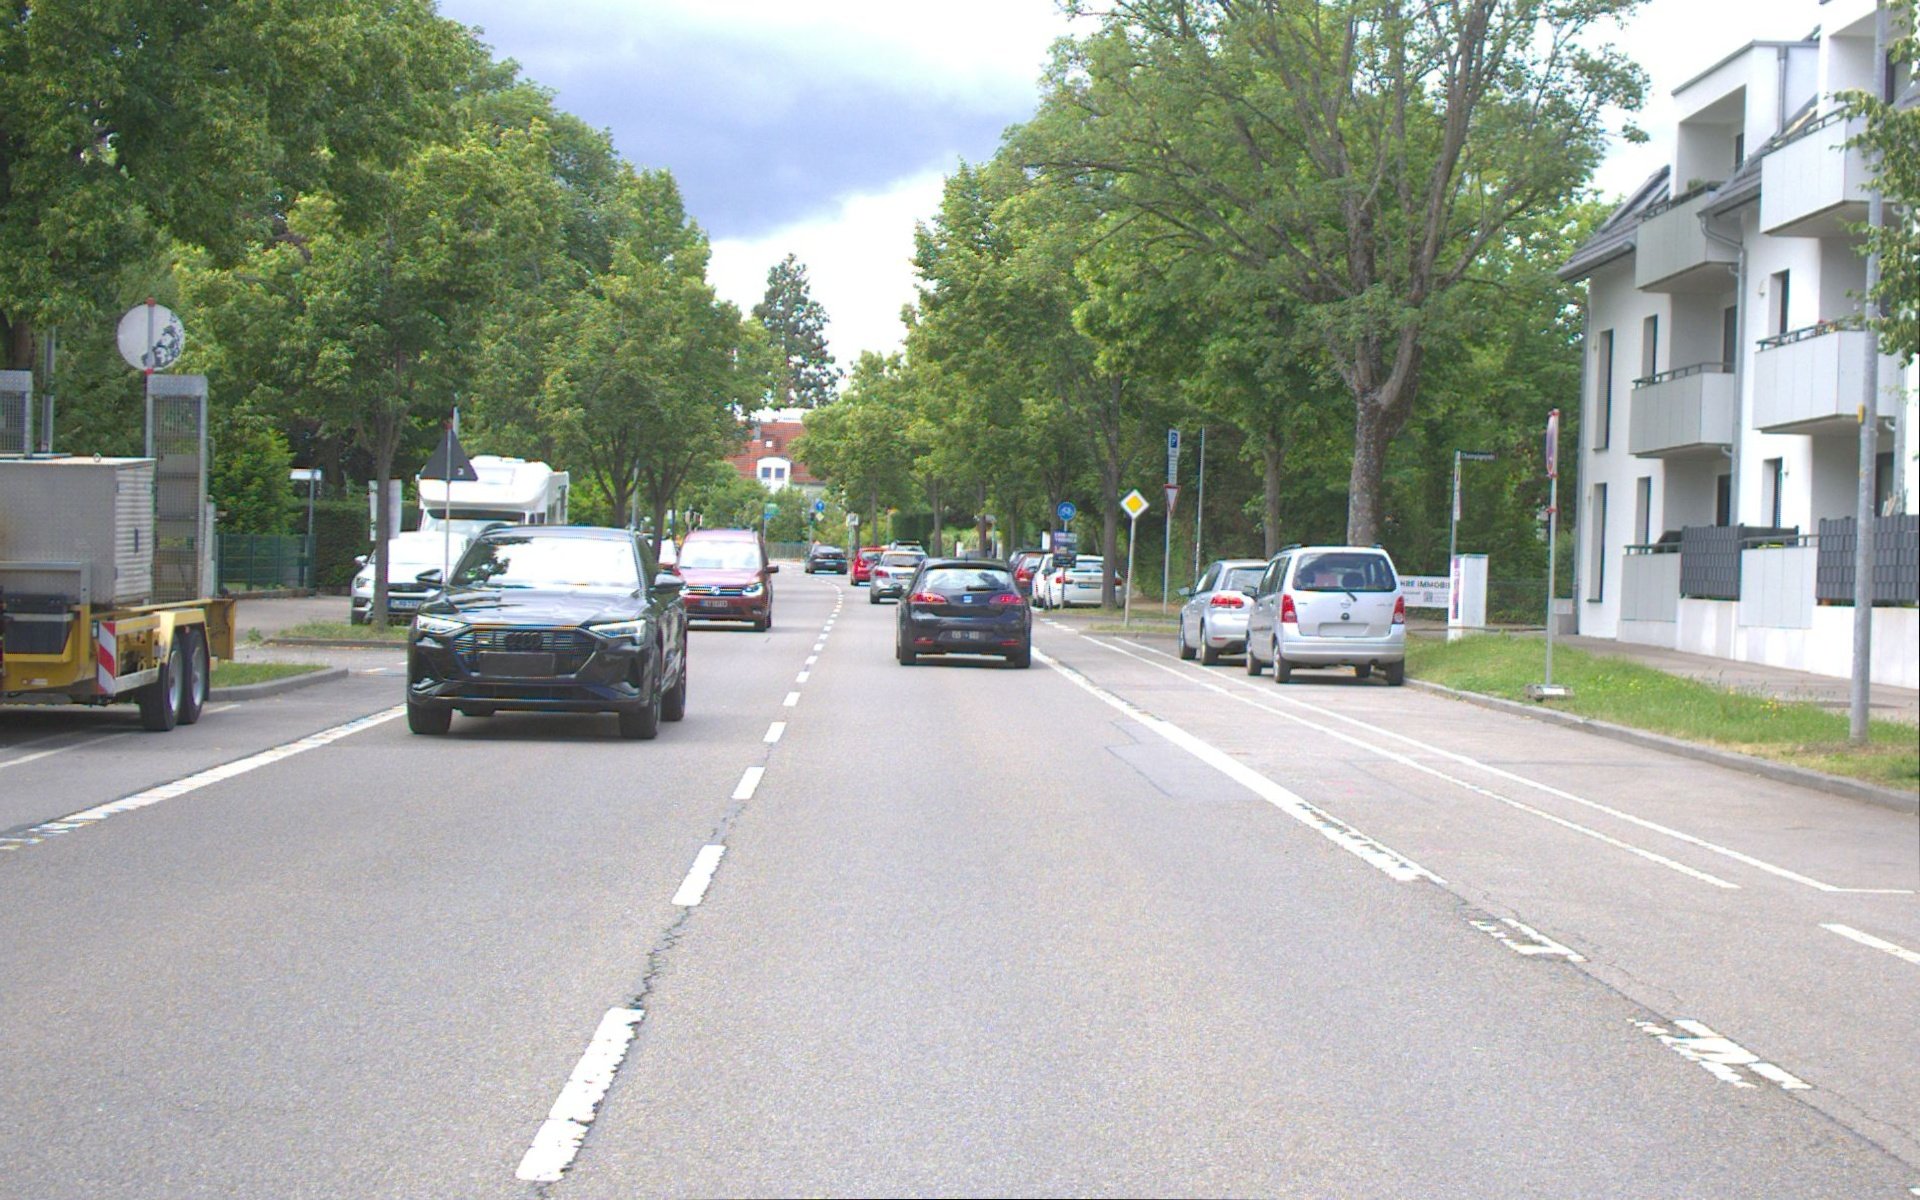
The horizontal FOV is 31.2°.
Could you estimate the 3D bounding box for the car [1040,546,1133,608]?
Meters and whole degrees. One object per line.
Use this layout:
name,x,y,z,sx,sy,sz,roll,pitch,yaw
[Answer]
car,3.153,-0.603,86.520,2.021,1.438,5.025,2,1,-1

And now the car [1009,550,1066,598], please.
car,2.401,-0.827,106.813,1.638,1.415,4.000,1,1,0

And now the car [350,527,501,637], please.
car,-8.300,-0.299,53.646,1.722,1.595,4.272,2,1,-1

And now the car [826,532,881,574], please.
car,-4.037,-1.812,131.245,1.993,1.525,4.000,2,1,-1

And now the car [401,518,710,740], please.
car,-3.204,0.183,28.107,1.993,1.662,4.589,0,1,0

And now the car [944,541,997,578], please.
car,0.431,-1.677,141.783,1.682,1.427,4.045,1,1,-7

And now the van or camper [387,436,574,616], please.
van or camper,-8.595,-1.317,62.374,2.435,2.999,7.693,1,1,-1

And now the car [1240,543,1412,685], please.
car,4.535,0.141,42.983,1.632,1.660,3.648,1,1,-1

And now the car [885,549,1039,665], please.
car,-0.011,0.063,46.060,1.783,1.444,3.558,2,1,-4

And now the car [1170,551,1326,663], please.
car,4.037,0.068,48.742,1.687,1.488,4.228,1,1,-2

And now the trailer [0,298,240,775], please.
trailer,-7.233,-0.457,24.836,2.673,2.931,7.476,2,0,-2

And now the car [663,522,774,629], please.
car,-4.321,-0.464,62.008,1.760,1.797,4.769,1,1,-2

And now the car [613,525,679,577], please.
car,-10.524,-1.647,115.540,1.873,1.682,4.866,1,1,-2

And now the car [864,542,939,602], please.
car,-1.627,-0.754,94.974,1.993,1.552,4.000,1,0,-1

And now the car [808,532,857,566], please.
car,-6.149,-2.431,164.893,1.993,1.503,4.001,2,0,-6

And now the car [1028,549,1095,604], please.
car,2.783,-0.658,94.923,1.615,1.455,3.658,1,1,-2
